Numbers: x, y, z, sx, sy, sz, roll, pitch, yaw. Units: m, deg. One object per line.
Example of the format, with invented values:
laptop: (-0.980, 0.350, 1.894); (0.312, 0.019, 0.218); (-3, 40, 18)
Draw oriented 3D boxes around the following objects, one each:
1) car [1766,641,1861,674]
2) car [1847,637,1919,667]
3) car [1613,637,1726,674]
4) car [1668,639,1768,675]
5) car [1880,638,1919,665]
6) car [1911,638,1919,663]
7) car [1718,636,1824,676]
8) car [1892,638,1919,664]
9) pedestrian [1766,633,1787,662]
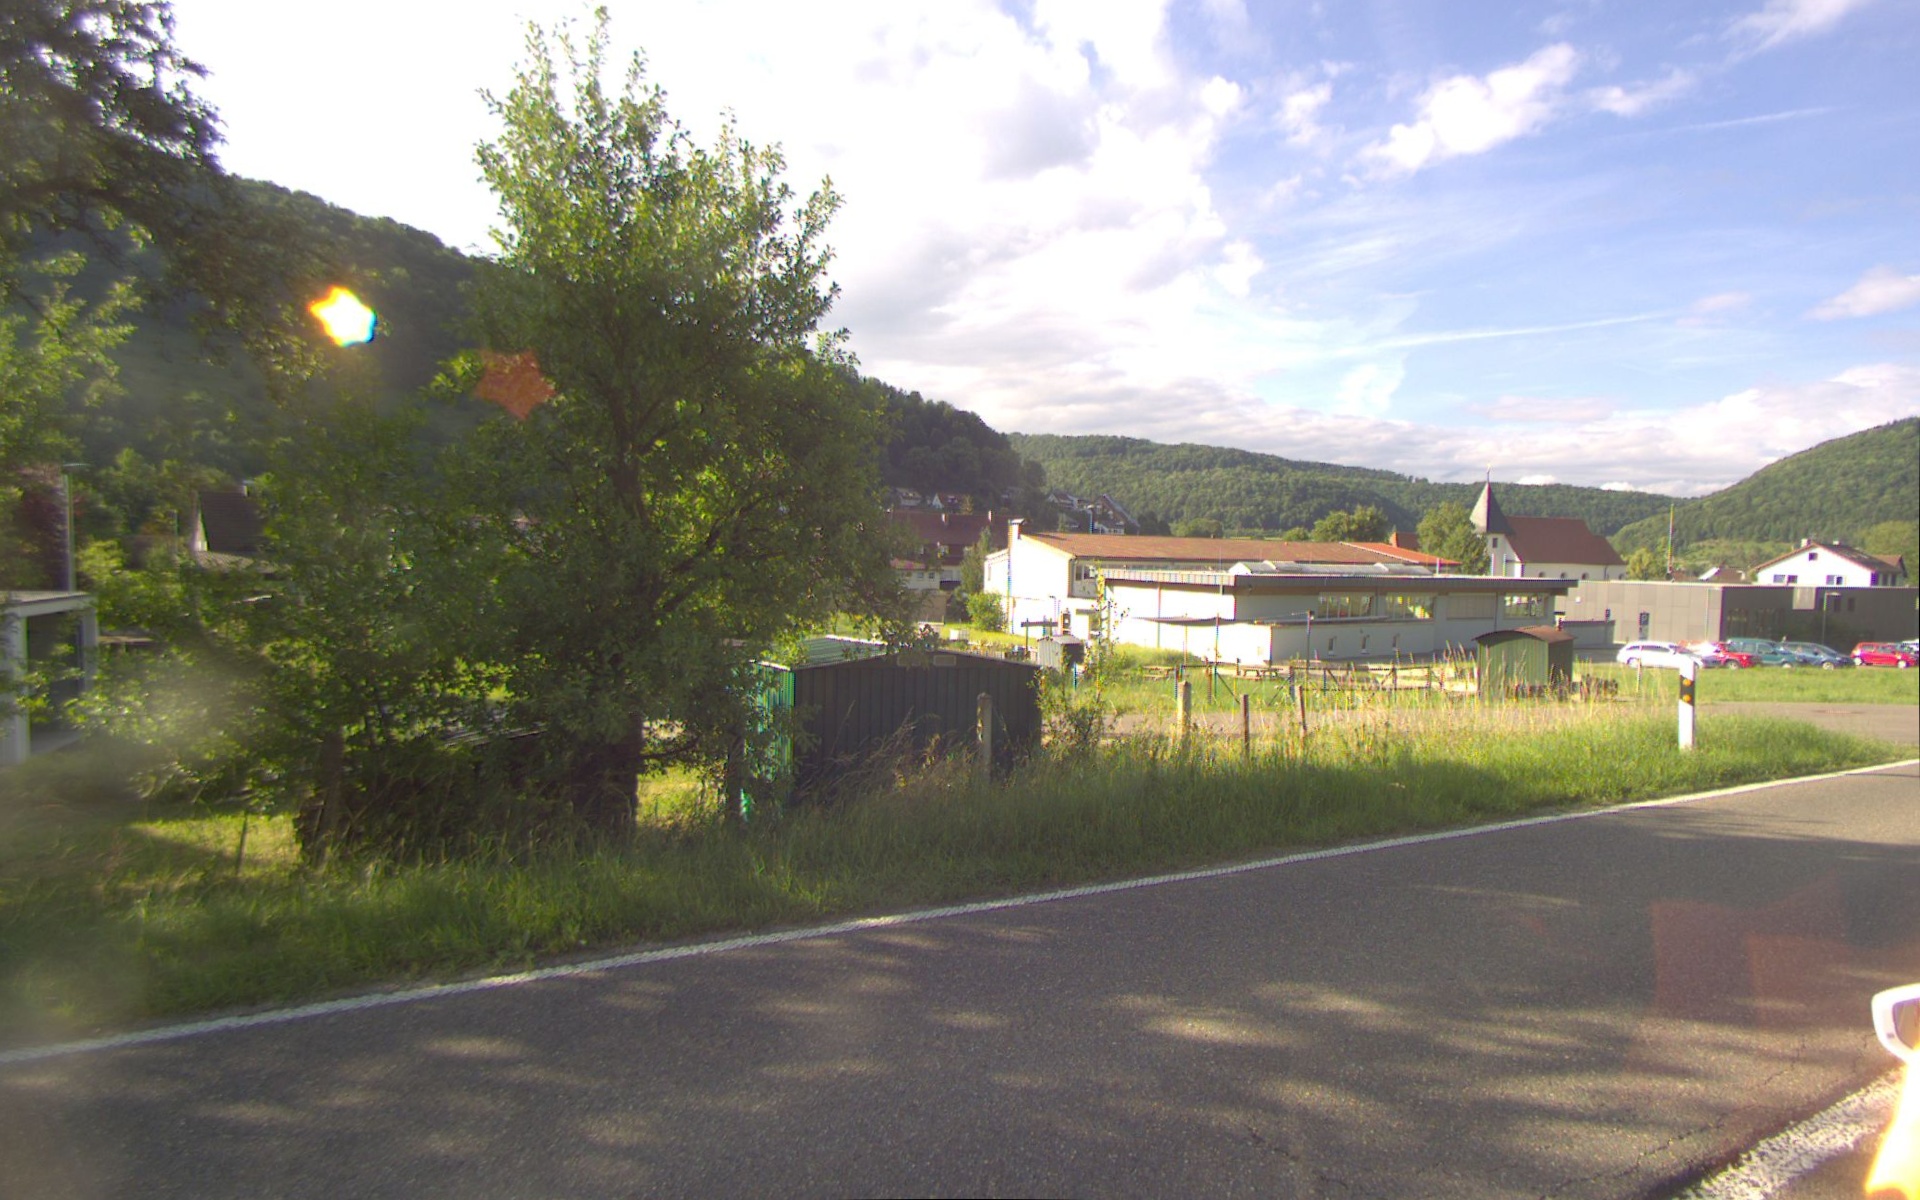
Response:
car: (51.362, 3.456, 60.525); (1.978, 1.733, 3.965); (2, 0, -32)
car: (60.447, 3.341, 65.121); (1.978, 1.733, 3.965); (2, 0, -32)
car: (39.115, 3.047, 55.491); (1.978, 1.733, 4.705); (2, 0, -32)
car: (42.216, 3.146, 56.019); (1.978, 1.733, 3.965); (2, 0, -32)
car: (64.458, 3.477, 67.150); (1.978, 1.733, 3.965); (2, 0, -32)
car: (70.178, 3.677, 70.972); (1.978, 1.733, 3.965); (2, 0, -32)
car: (47.309, 3.250, 58.669); (1.978, 2.034, 4.382); (2, 0, -32)
car: (67.337, 3.579, 69.407); (1.978, 1.733, 3.965); (2, 0, -32)
pedestrian: (57.956, 3.358, 71.325); (0.962, 2.040, 0.821); (2, 0, -30)
